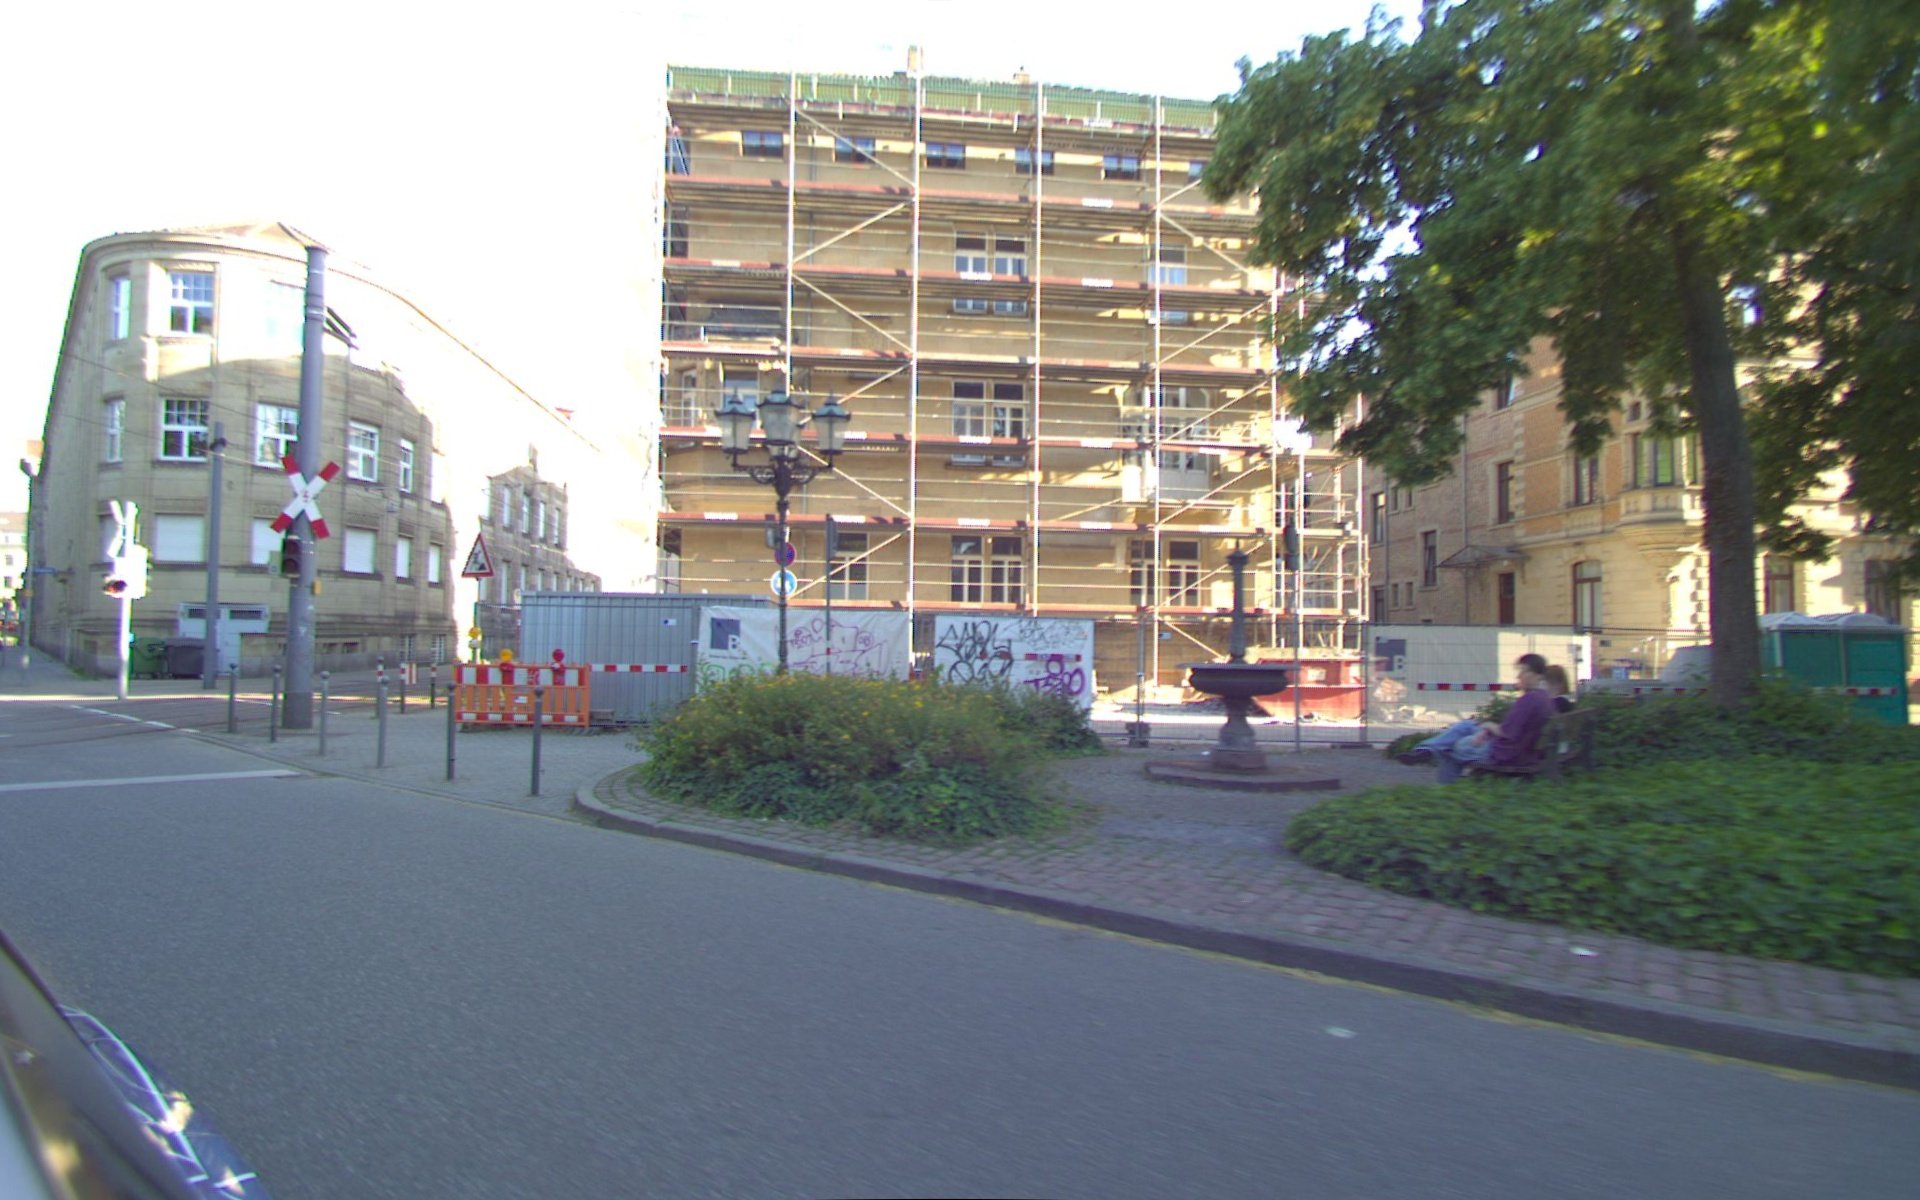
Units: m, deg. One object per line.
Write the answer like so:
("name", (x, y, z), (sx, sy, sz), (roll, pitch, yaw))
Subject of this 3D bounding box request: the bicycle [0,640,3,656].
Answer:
("bicycle", (-73.309, 3.659, 76.953), (0.451, 1.218, 1.882), (3, -4, -35))

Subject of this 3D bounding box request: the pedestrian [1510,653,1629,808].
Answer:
("pedestrian", (5.194, 1.075, 8.636), (0.544, 1.242, 0.725), (3, -4, -43))

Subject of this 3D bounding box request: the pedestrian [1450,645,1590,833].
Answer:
("pedestrian", (4.170, 0.994, 7.551), (0.544, 1.308, 0.766), (3, -4, -43))

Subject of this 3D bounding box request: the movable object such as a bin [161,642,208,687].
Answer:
("movable object such as a bin", (-26.005, 2.154, 33.953), (1.167, 1.439, 1.926), (3, -4, -37))

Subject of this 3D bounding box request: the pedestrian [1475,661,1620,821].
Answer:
("pedestrian", (4.771, 1.108, 8.242), (0.544, 1.204, 0.885), (3, -4, -43))

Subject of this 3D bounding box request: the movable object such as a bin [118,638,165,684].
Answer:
("movable object such as a bin", (-27.557, 2.042, 34.090), (1.131, 1.497, 1.631), (3, -4, -37))
